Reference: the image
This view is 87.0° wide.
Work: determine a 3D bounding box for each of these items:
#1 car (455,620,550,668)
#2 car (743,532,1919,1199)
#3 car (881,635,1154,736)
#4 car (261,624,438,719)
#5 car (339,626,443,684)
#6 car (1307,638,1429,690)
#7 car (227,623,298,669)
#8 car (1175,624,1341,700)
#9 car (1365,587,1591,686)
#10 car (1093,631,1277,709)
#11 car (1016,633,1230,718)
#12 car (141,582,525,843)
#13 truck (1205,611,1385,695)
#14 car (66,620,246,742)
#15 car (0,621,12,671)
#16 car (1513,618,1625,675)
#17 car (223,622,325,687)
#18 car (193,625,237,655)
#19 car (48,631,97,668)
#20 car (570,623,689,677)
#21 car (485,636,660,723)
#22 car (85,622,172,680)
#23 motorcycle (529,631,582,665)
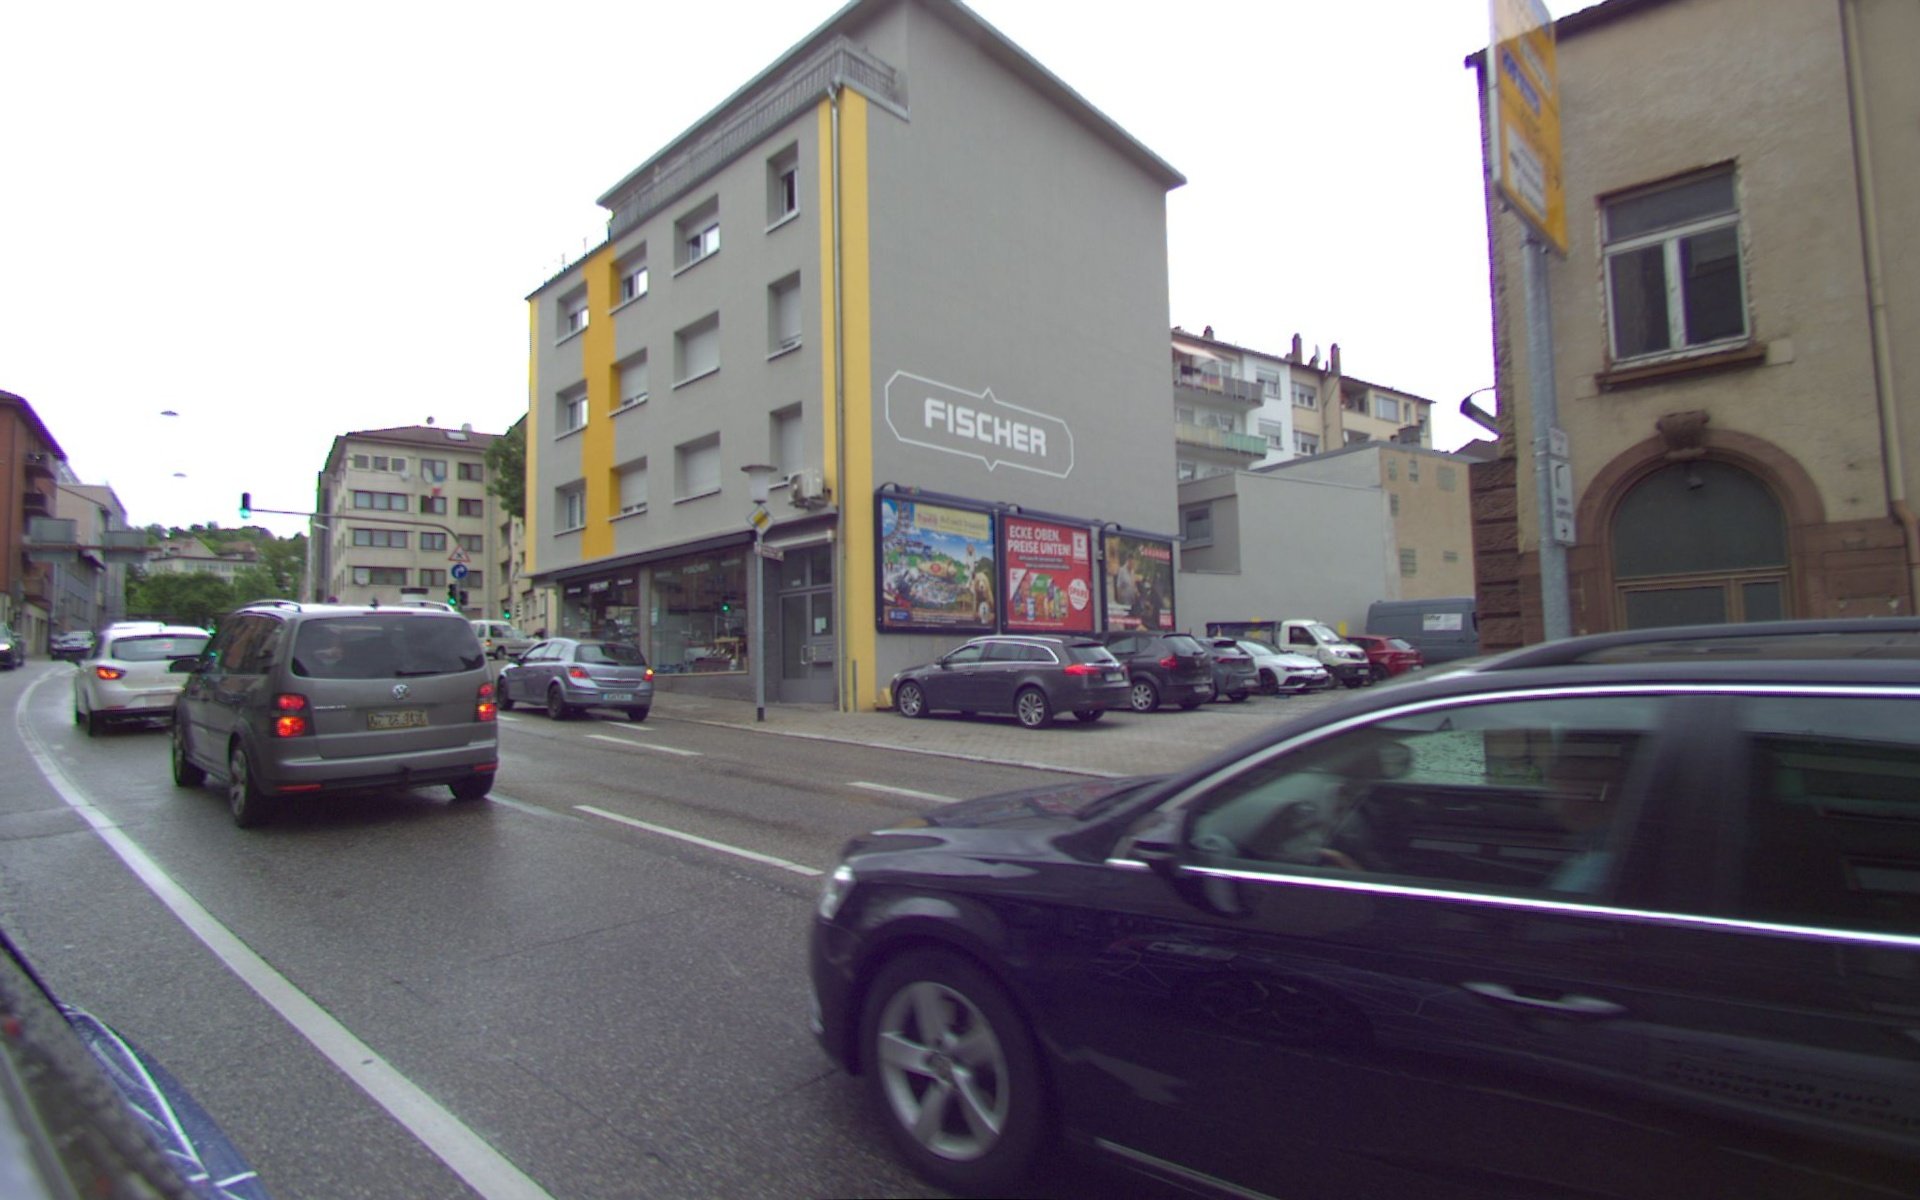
[{"bbox_3d":[-21.167,2.079,47.007,1.717,1.843,4.039,3,-5,16],"label":"car"},{"bbox_3d":[1.651,0.714,2.292,4.361,1.527,1.707,0,-3,37],"label":"car"},{"bbox_3d":[0.877,1.375,17.518,4.661,1.466,1.674,-1,-1,40],"label":"car"},{"bbox_3d":[-11.271,1.255,18.581,4.132,1.527,1.720,-1,-4,44],"label":"car"},{"bbox_3d":[-17.404,1.652,30.894,3.930,1.622,1.637,-1,-4,44],"label":"car"},{"bbox_3d":[11.437,1.810,28.483,1.300,1.285,2.851,0,-6,-37],"label":"car"},{"bbox_3d":[-24.917,1.660,36.083,1.783,1.554,4.387,2,-4,-38],"label":"car"},{"bbox_3d":[7.344,1.572,25.190,1.653,1.684,3.552,1,-6,-40],"label":"car"},{"bbox_3d":[15.672,1.200,30.996,2.098,2.578,5.643,0,-6,-35],"label":"car"},{"bbox_3d":[4.925,1.584,22.499,1.712,1.527,3.569,1,-6,-44],"label":"car"},{"bbox_3d":[3.115,1.403,19.797,3.854,1.475,1.672,-2,-2,43],"label":"car"},{"bbox_3d":[-5.692,0.783,8.909,4.562,1.718,1.786,-1,-2,44],"label":"car"},{"bbox_3d":[8.980,1.480,27.427,1.695,1.987,4.229,1,-6,-43],"label":"truck"},{"bbox_3d":[-11.887,1.056,14.850,1.678,1.491,4.294,0,0,-44],"label":"car"},{"bbox_3d":[-30.055,1.426,30.613,1.847,1.453,4.005,1,-3,-41],"label":"car"},{"bbox_3d":[20.594,1.588,34.296,1.300,1.751,2.851,0,-6,-37],"label":"car"},{"bbox_3d":[-19.339,1.507,28.453,1.784,1.644,4.349,6,-4,-41],"label":"car"},{"bbox_3d":[-41.428,2.204,56.239,1.795,1.548,4.387,2,-2,-38],"label":"car"},{"bbox_3d":[-47.843,2.671,54.594,1.766,1.741,4.007,0,-6,-38],"label":"car"},{"bbox_3d":[-12.689,1.875,38.999,1.858,1.807,3.949,-2,0,38],"label":"car"},{"bbox_3d":[-7.238,1.499,18.735,1.641,1.398,3.803,1,-6,-44],"label":"car"},{"bbox_3d":[-24.000,1.426,29.309,1.783,1.533,4.570,2,-2,-38],"label":"car"},{"bbox_3d":[-16.517,1.957,41.341,1.963,1.339,0.540,1,-4,-45],"label":"motorcycle"}]
